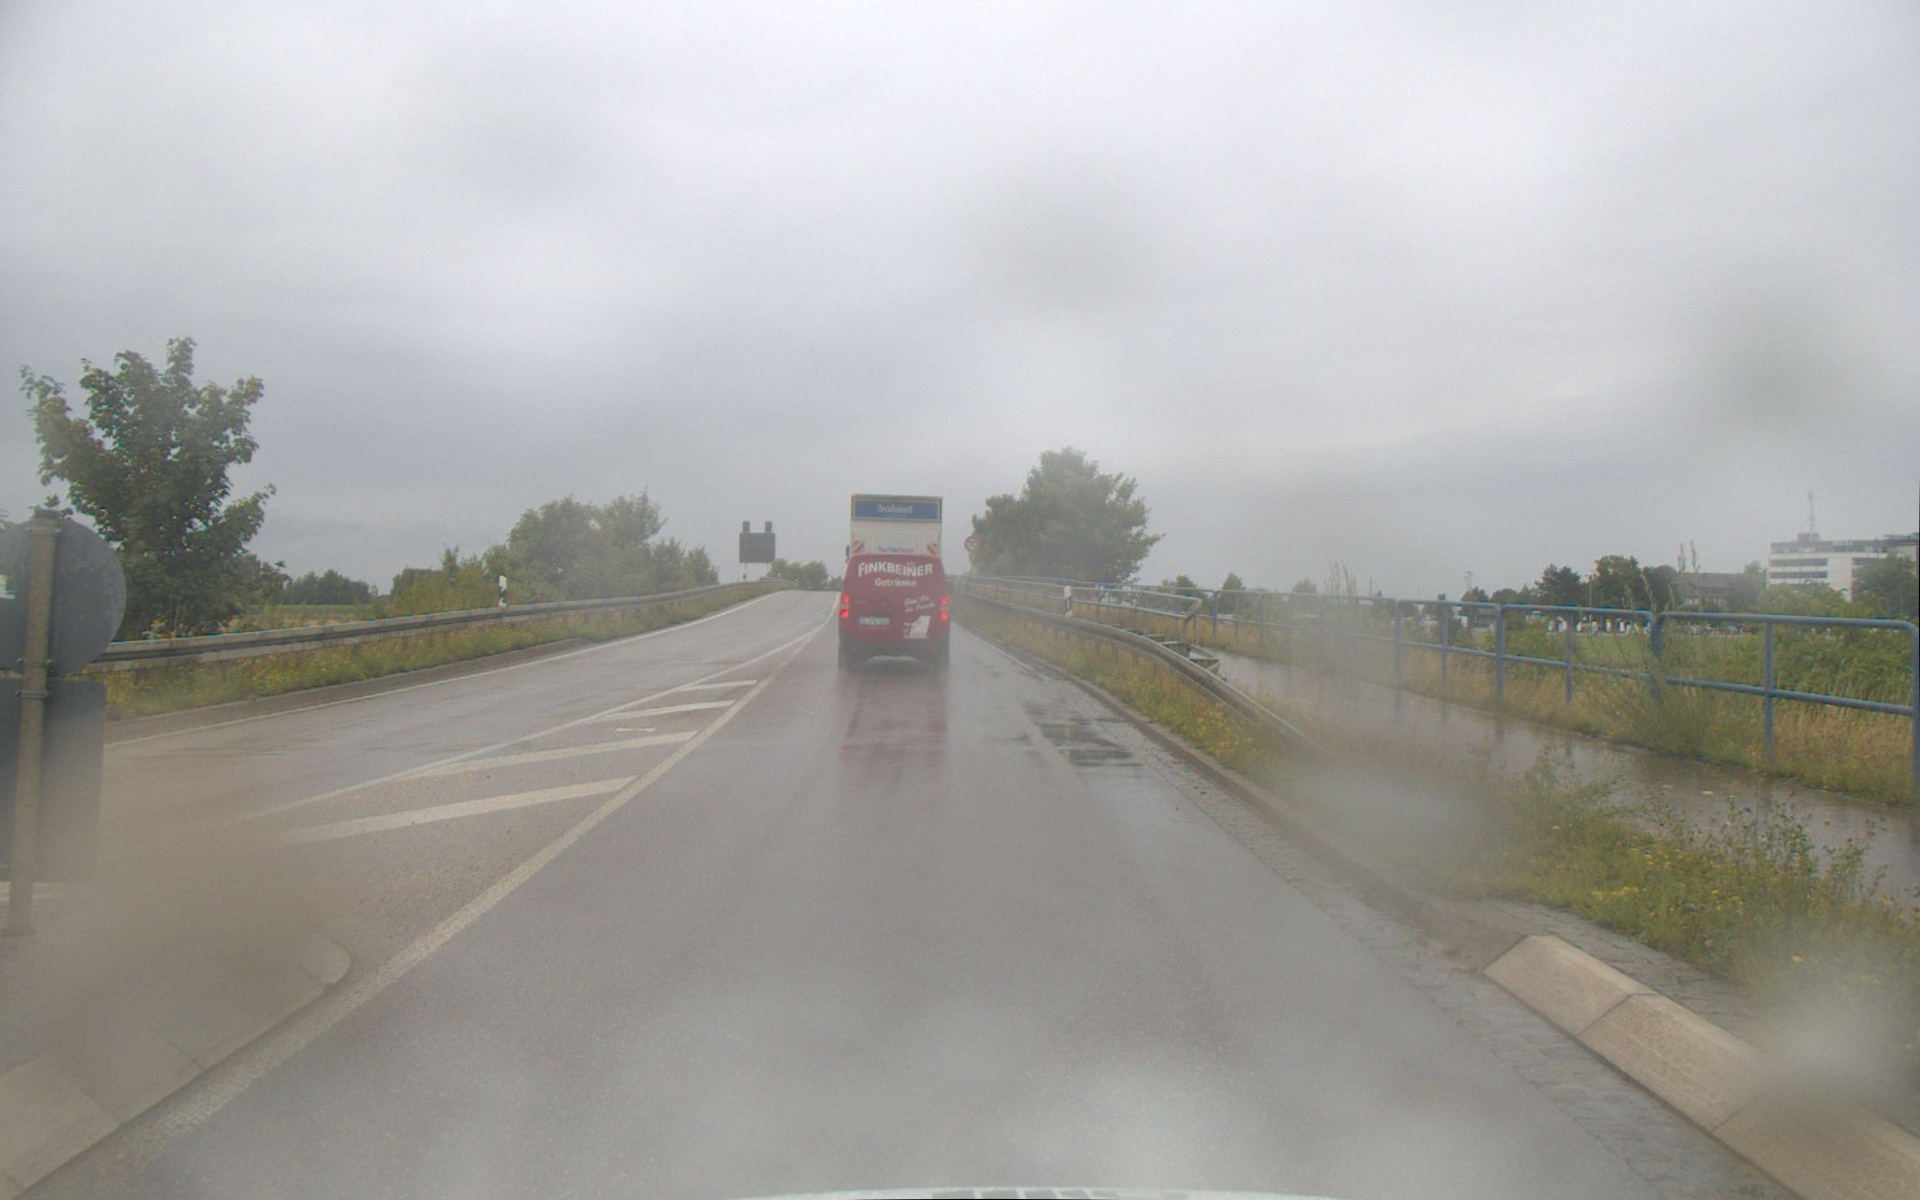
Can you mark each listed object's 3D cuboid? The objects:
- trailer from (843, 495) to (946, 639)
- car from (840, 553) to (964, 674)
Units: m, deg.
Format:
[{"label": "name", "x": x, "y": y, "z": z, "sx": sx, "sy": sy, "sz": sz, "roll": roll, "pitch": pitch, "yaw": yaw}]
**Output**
[{"label": "trailer", "x": -1.945, "y": -0.897, "z": 49.587, "sx": 2.775, "sy": 3.886, "sz": 9.710, "roll": 0, "pitch": 0, "yaw": -2}, {"label": "car", "x": -0.943, "y": 0.185, "z": 28.598, "sx": 1.953, "sy": 1.903, "sz": 4.978, "roll": 0, "pitch": 1, "yaw": -1}]
